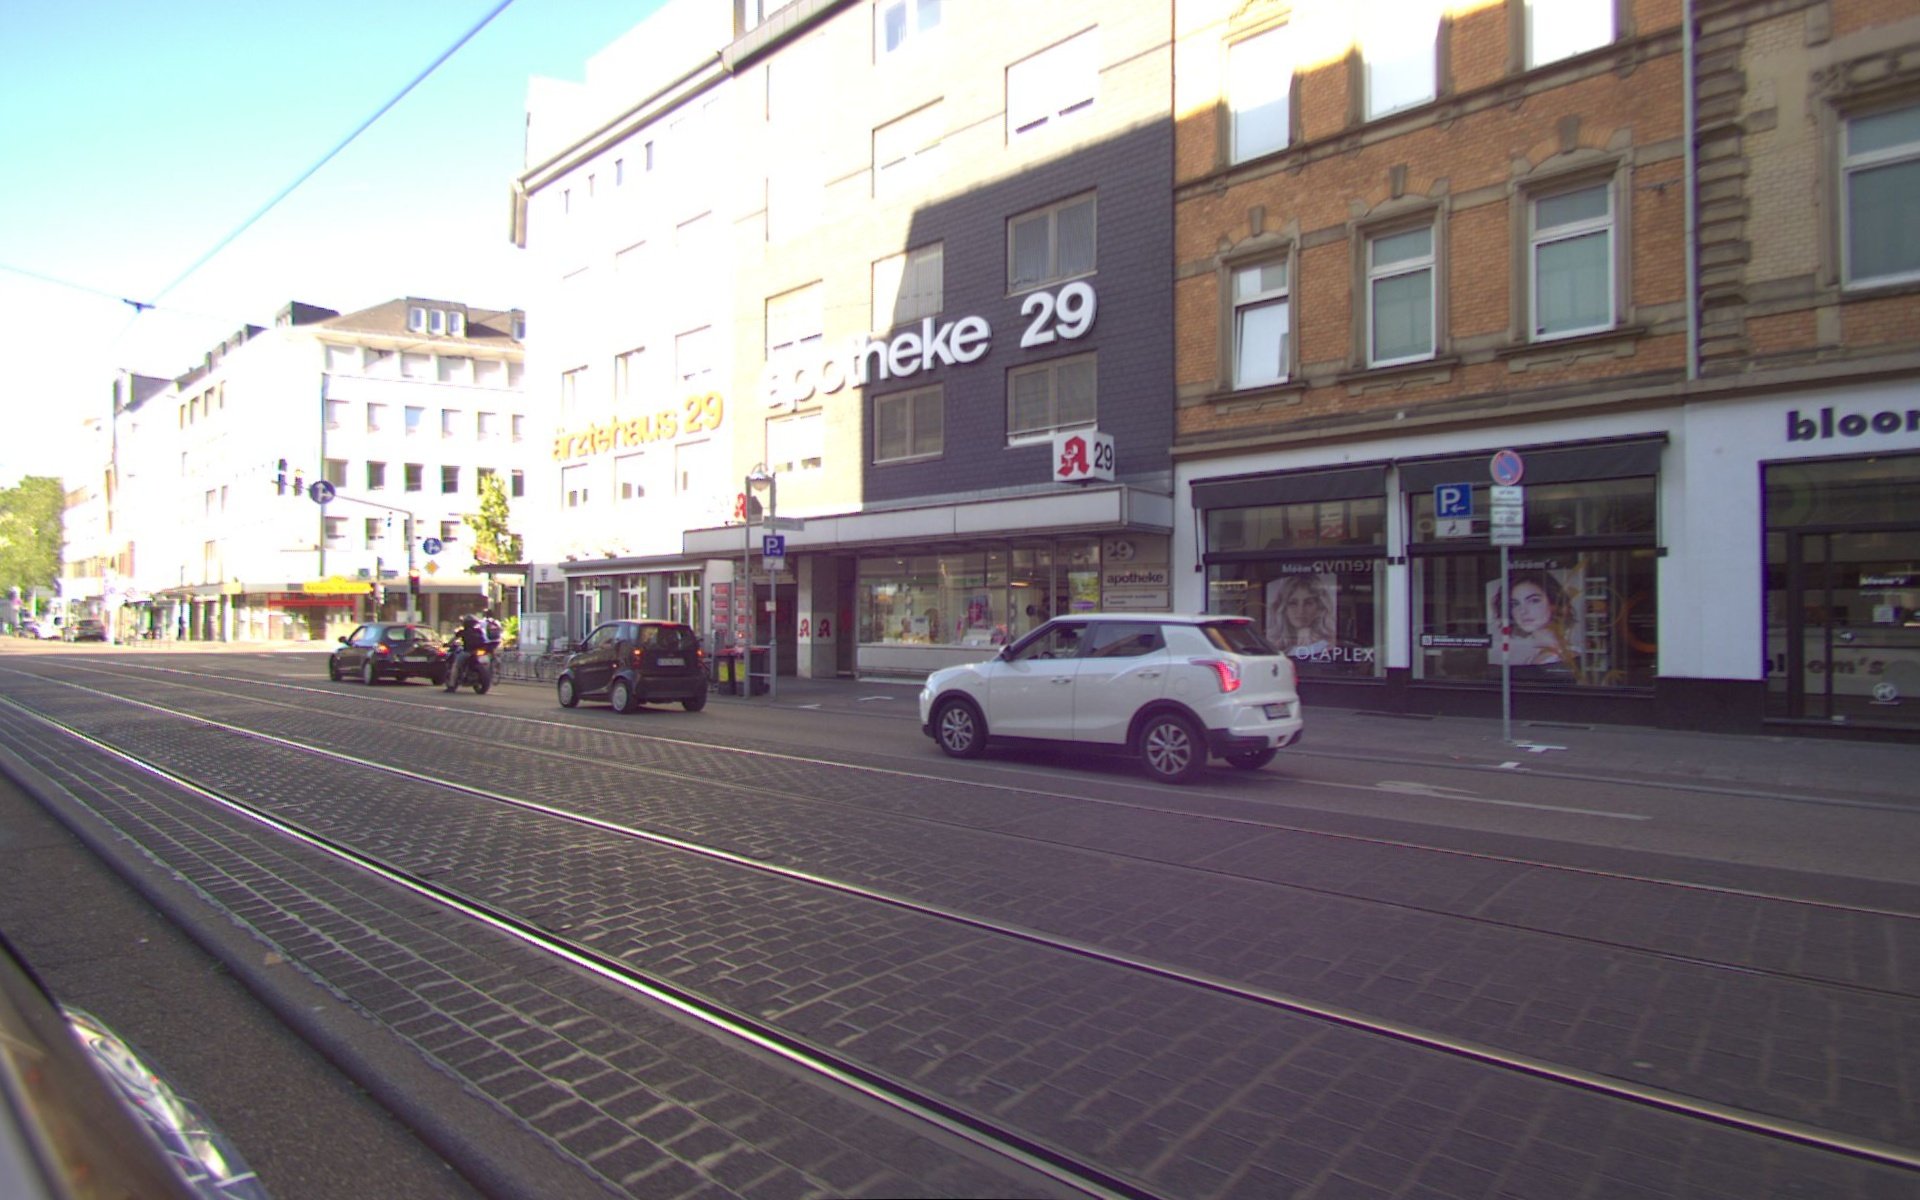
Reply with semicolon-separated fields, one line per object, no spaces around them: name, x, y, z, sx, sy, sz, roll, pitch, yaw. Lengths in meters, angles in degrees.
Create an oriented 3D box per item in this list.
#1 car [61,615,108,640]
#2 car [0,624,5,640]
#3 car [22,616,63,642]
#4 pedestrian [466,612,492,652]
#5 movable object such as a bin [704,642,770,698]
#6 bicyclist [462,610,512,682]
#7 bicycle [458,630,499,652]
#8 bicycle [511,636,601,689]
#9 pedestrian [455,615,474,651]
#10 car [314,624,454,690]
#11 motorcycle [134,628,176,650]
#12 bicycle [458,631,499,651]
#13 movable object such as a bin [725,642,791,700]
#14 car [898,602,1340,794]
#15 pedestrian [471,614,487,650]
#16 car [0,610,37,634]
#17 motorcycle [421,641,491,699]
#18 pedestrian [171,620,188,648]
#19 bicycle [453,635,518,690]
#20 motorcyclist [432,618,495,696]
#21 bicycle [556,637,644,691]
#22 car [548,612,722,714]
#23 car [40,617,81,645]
car;-61.547;1.949;71.159;3.998;1.719;1.972;-1;-2;41
car;-109.416;3.608;112.943;1.999;1.811;3.944;-2;-2;42
car;-72.442;2.289;79.871;3.998;2.029;1.972;-1;-2;41
pedestrian;-23.317;1.556;49.083;0.985;1.881;0.782;1;-4;-39
movable object such as a bin;-4.606;1.425;20.921;0.735;1.080;1.088;-1;0;41
bicyclist;-11.857;1.135;25.347;1.146;1.742;0.742;-1;-2;42
bicycle;-23.347;1.978;49.053;1.697;1.015;0.762;1;-5;-36
bicycle;-10.408;1.591;26.140;0.772;1.233;2.084;-1;0;36
pedestrian;-24.579;1.622;50.212;0.644;1.725;0.794;1;-1;-39
car;-14.055;1.353;24.592;4.137;1.457;1.695;-2;-4;42
motorcycle;-58.715;2.822;73.819;0.999;1.517;2.226;-2;-2;38
bicycle;-23.647;2.007;49.719;1.765;0.975;0.555;1;-2;-37
movable object such as a bin;-4.072;1.415;20.428;0.698;1.071;1.088;-1;0;41
car;1.518;0.884;10.613;4.261;1.606;1.870;-1;-3;42
pedestrian;-23.668;1.569;49.768;0.550;1.741;0.782;1;-1;-39
car;-81.091;1.907;87.117;3.998;2.029;1.972;-1;-2;41
motorcycle;-10.600;1.445;21.248;2.116;1.128;0.564;-1;-2;42
pedestrian;-48.568;2.130;62.960;0.700;1.722;0.562;1;-2;-27
bicycle;-11.895;1.537;25.342;2.025;1.303;0.742;-1;-1;42
motorcyclist;-10.352;1.173;21.097;1.146;1.570;0.794;-1;-3;42
bicycle;-8.823;1.554;24.875;0.772;1.181;1.917;-1;0;36
car;-5.576;1.013;17.275;2.829;1.578;1.631;-1;-2;42
car;-67.948;2.340;76.405;4.844;2.029;1.971;-2;-2;45
